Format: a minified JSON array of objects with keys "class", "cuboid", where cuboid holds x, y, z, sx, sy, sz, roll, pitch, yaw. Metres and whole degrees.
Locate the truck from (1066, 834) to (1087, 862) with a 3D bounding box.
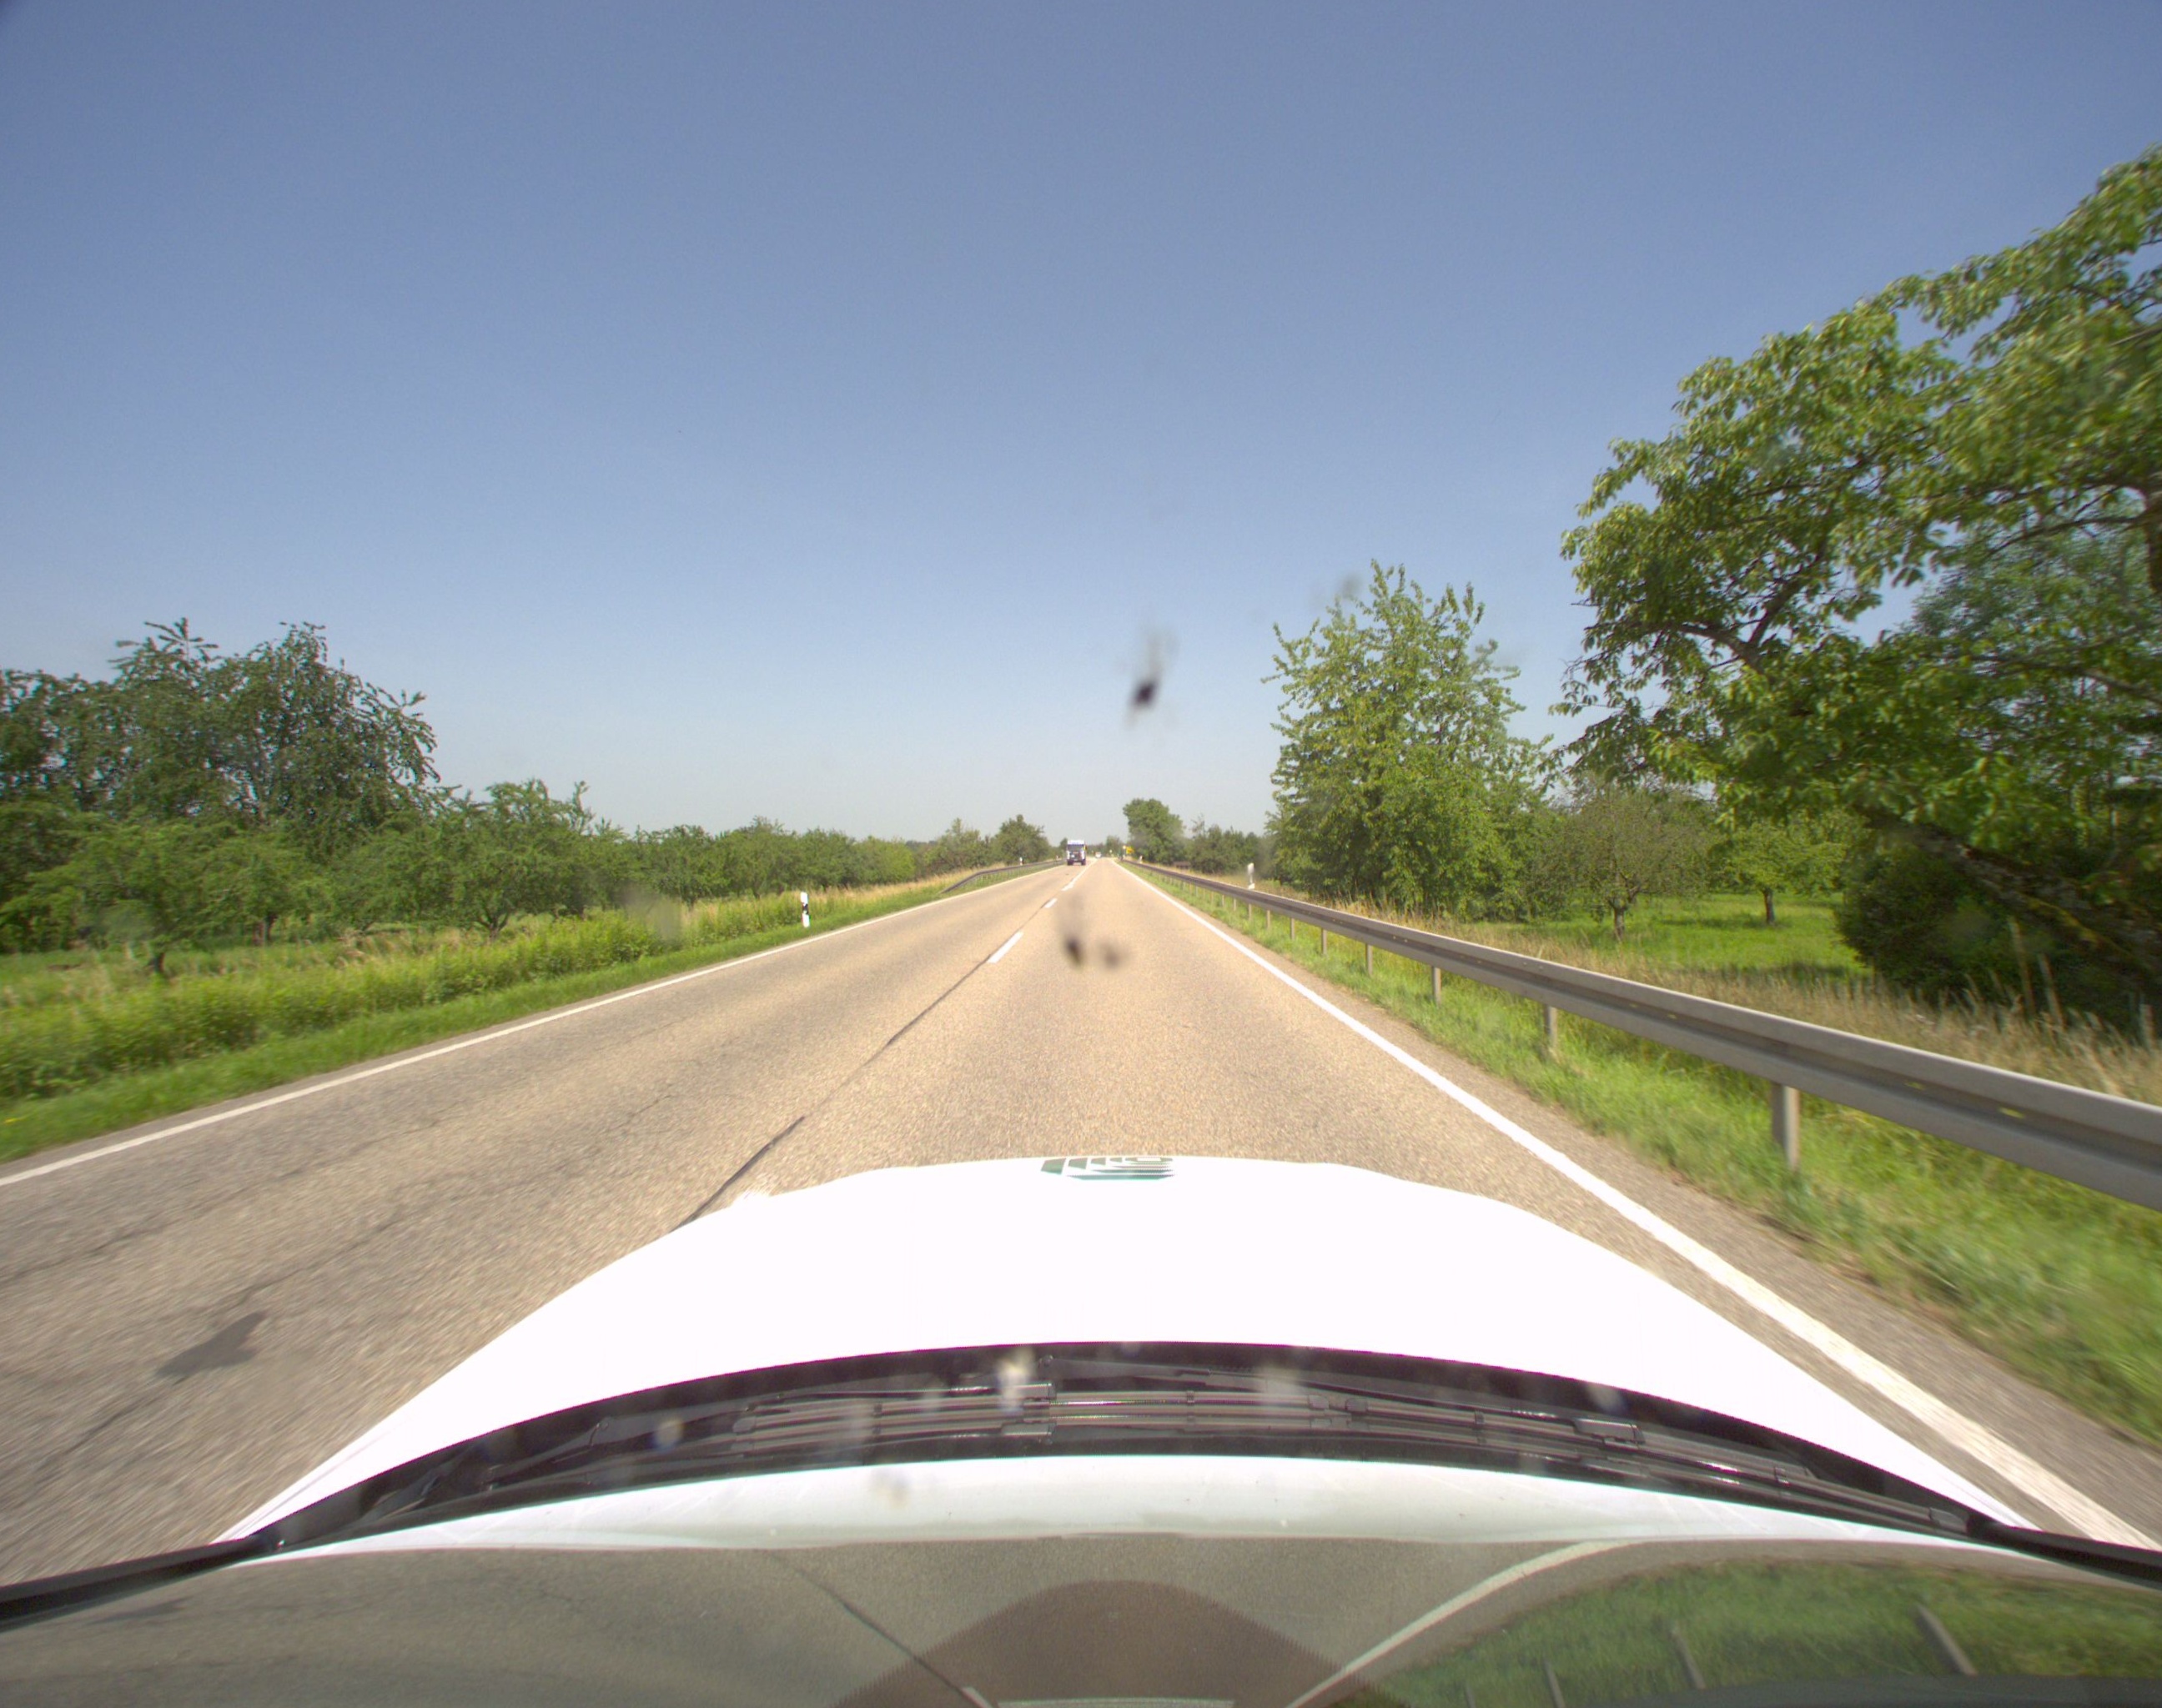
[{"class":"truck","cuboid":[-0.585,-0.765,115.155,2.718,3.672,9.385,-1,-1,1]}]
